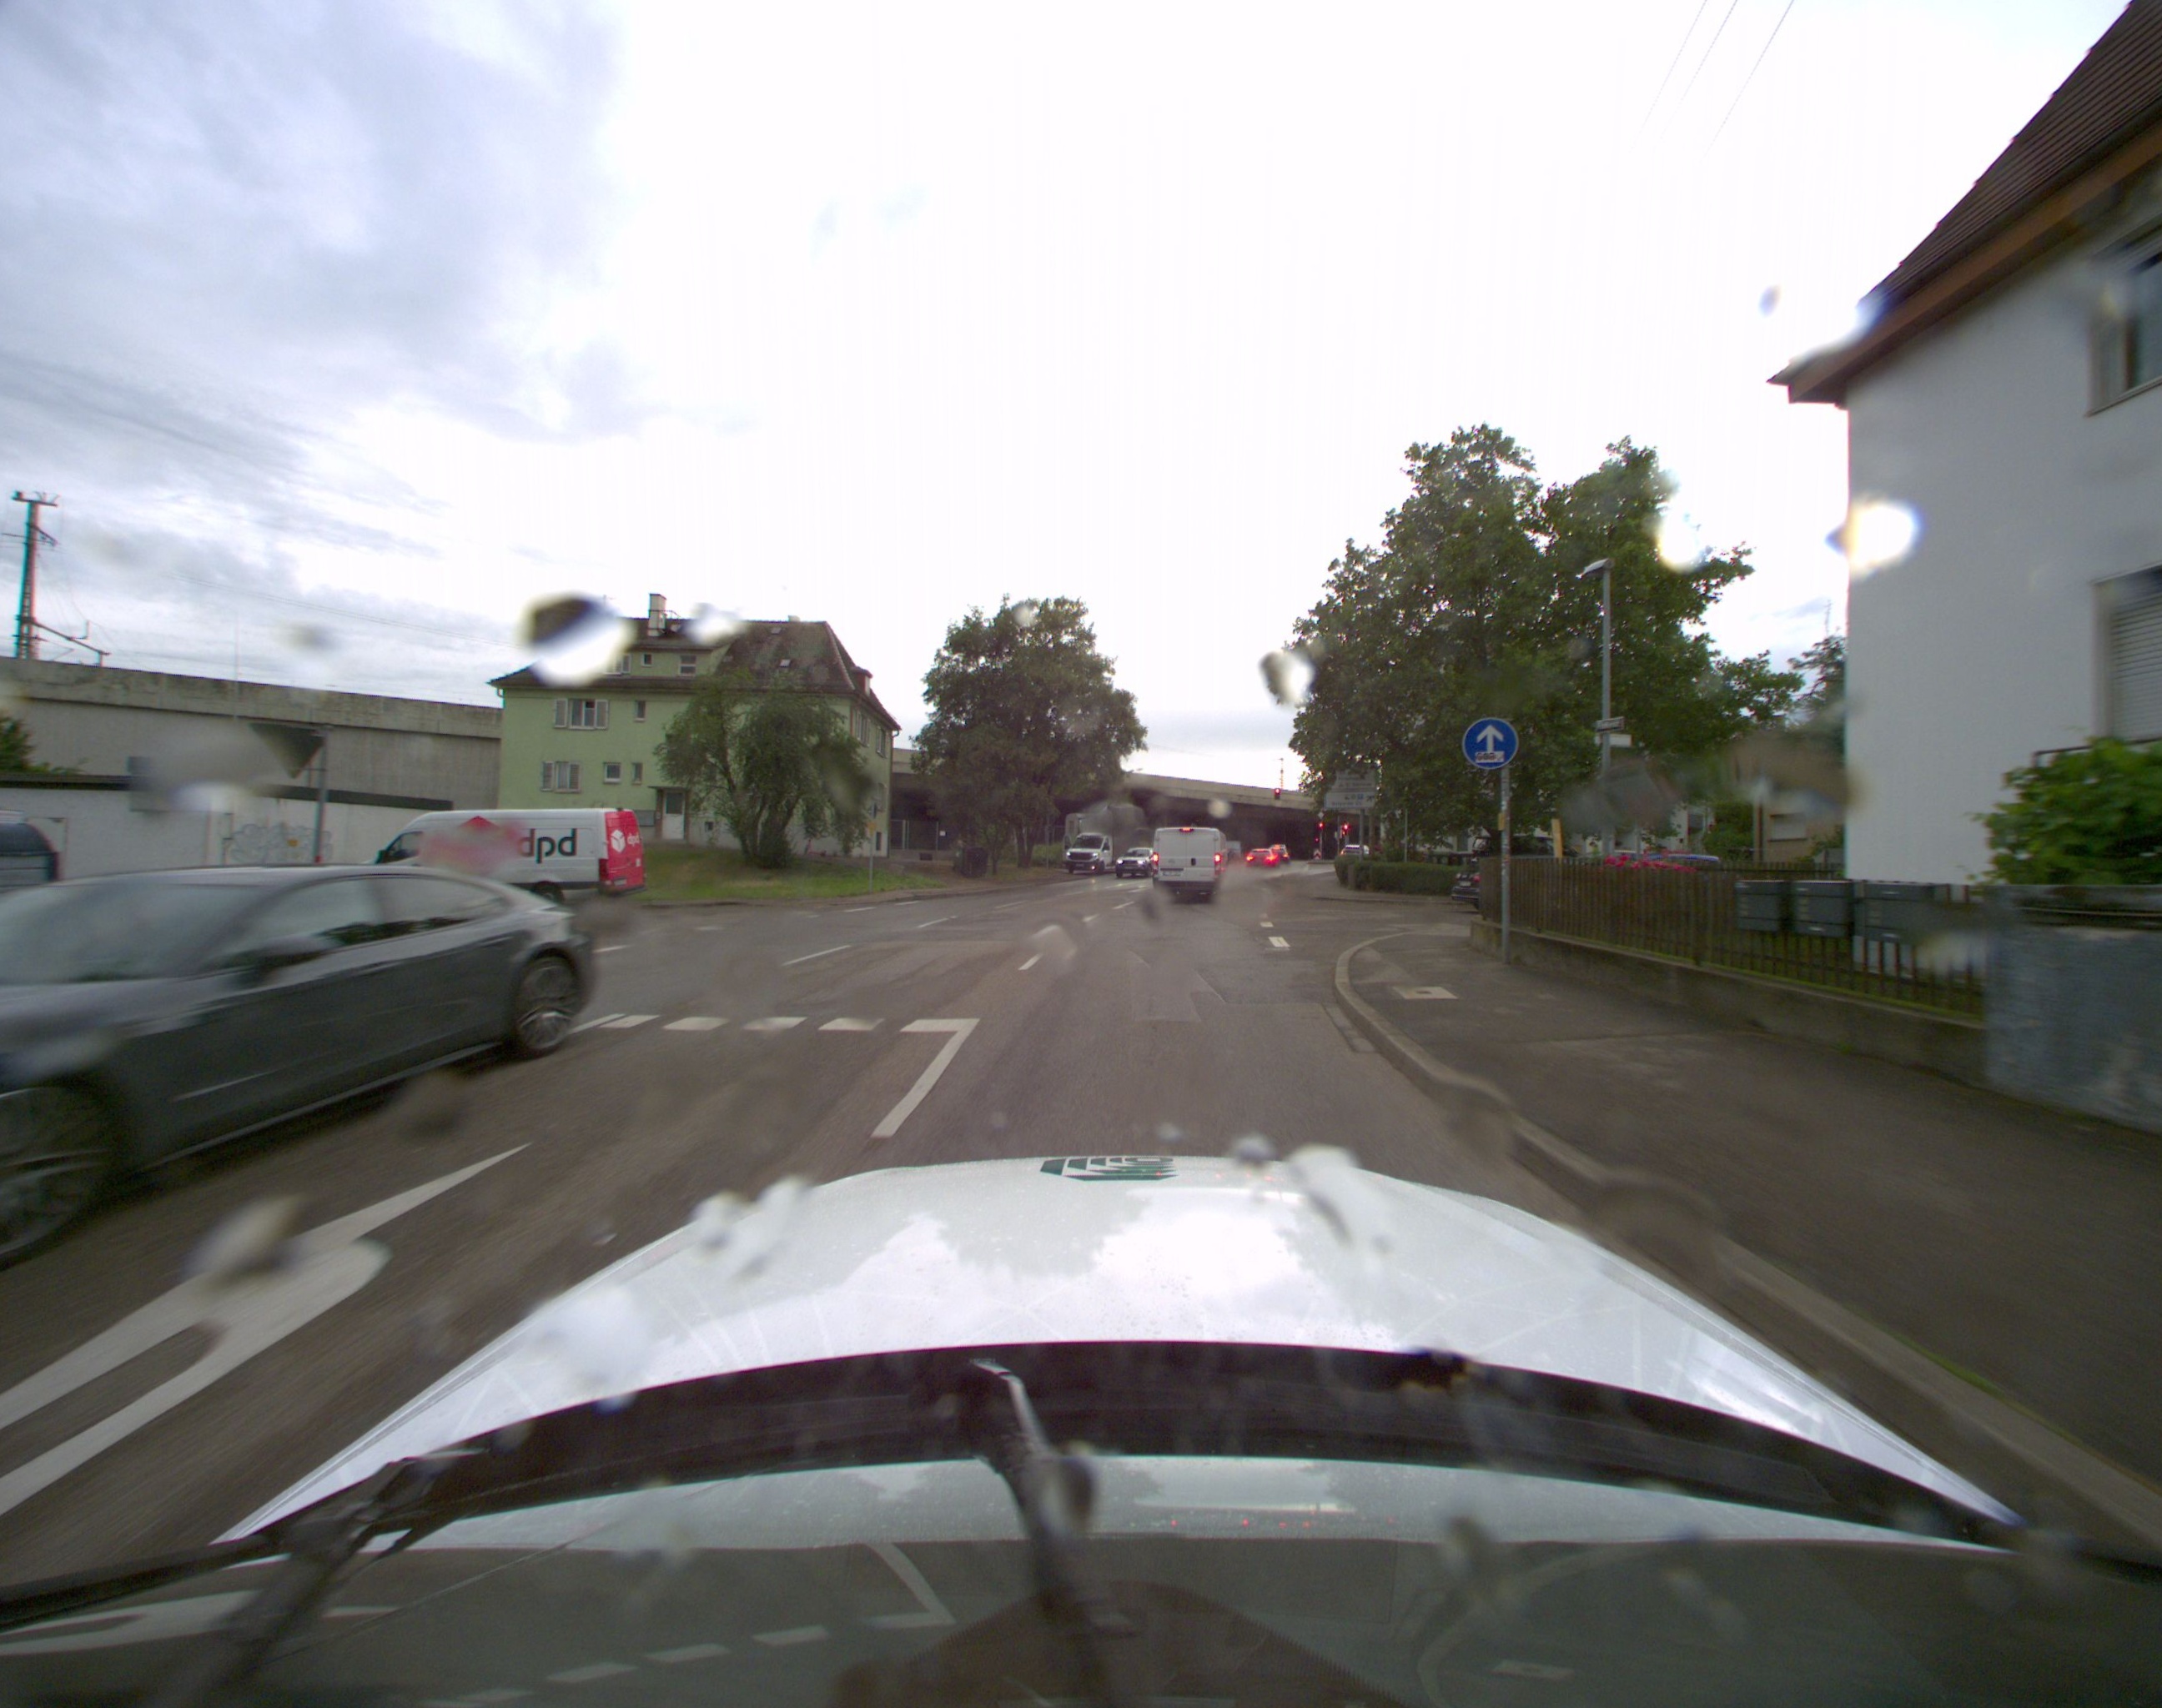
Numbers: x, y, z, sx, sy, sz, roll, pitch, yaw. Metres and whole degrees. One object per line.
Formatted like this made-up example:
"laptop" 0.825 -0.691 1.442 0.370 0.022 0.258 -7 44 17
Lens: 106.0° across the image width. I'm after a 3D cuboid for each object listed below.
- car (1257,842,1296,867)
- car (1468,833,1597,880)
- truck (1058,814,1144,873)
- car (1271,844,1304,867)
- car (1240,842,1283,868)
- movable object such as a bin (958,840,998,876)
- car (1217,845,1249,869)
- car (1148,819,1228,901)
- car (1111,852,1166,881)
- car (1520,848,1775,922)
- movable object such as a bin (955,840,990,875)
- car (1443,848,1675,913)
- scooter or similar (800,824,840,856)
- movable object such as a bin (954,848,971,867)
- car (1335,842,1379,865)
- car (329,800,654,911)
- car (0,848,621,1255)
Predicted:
"car" 14.031 0.065 58.386 1.976 1.729 4.022 1 0 24
"car" 18.960 0.104 34.346 4.388 1.932 1.999 0 0 -2
"truck" 1.360 -0.591 48.688 2.588 3.236 7.817 1 0 21
"car" 16.332 0.104 64.332 1.976 1.729 4.022 1 0 23
"car" 11.030 0.074 49.624 1.977 1.513 4.020 1 0 20
"movable object such as a bin" -4.720 0.186 37.253 1.297 1.437 1.451 4 4 -28
"car" 12.972 0.242 69.338 1.941 1.931 4.706 0 0 19
"car" 3.565 0.124 26.271 2.291 2.343 5.298 1 1 10
"car" 3.144 0.636 43.498 1.879 1.461 4.020 0 0 20
"car" 11.846 0.617 17.249 4.098 1.480 1.887 0 0 1
"movable object such as a bin" -5.152 0.174 38.659 1.103 1.437 1.451 4 4 -28
"car" 11.745 0.608 20.191 4.795 1.480 1.882 0 0 -6
"scooter or similar" -11.512 -0.619 35.954 1.510 1.273 0.532 5 1 14
"movable object such as a bin" -5.809 0.172 40.025 0.552 0.957 0.727 1 0 20
"car" 19.981 -0.027 58.911 1.974 1.549 4.025 1 0 35
"car" -15.276 0.039 21.453 6.781 2.655 2.262 1 0 -1
"car" -4.831 0.703 4.340 1.987 1.443 4.775 -1 0 0
